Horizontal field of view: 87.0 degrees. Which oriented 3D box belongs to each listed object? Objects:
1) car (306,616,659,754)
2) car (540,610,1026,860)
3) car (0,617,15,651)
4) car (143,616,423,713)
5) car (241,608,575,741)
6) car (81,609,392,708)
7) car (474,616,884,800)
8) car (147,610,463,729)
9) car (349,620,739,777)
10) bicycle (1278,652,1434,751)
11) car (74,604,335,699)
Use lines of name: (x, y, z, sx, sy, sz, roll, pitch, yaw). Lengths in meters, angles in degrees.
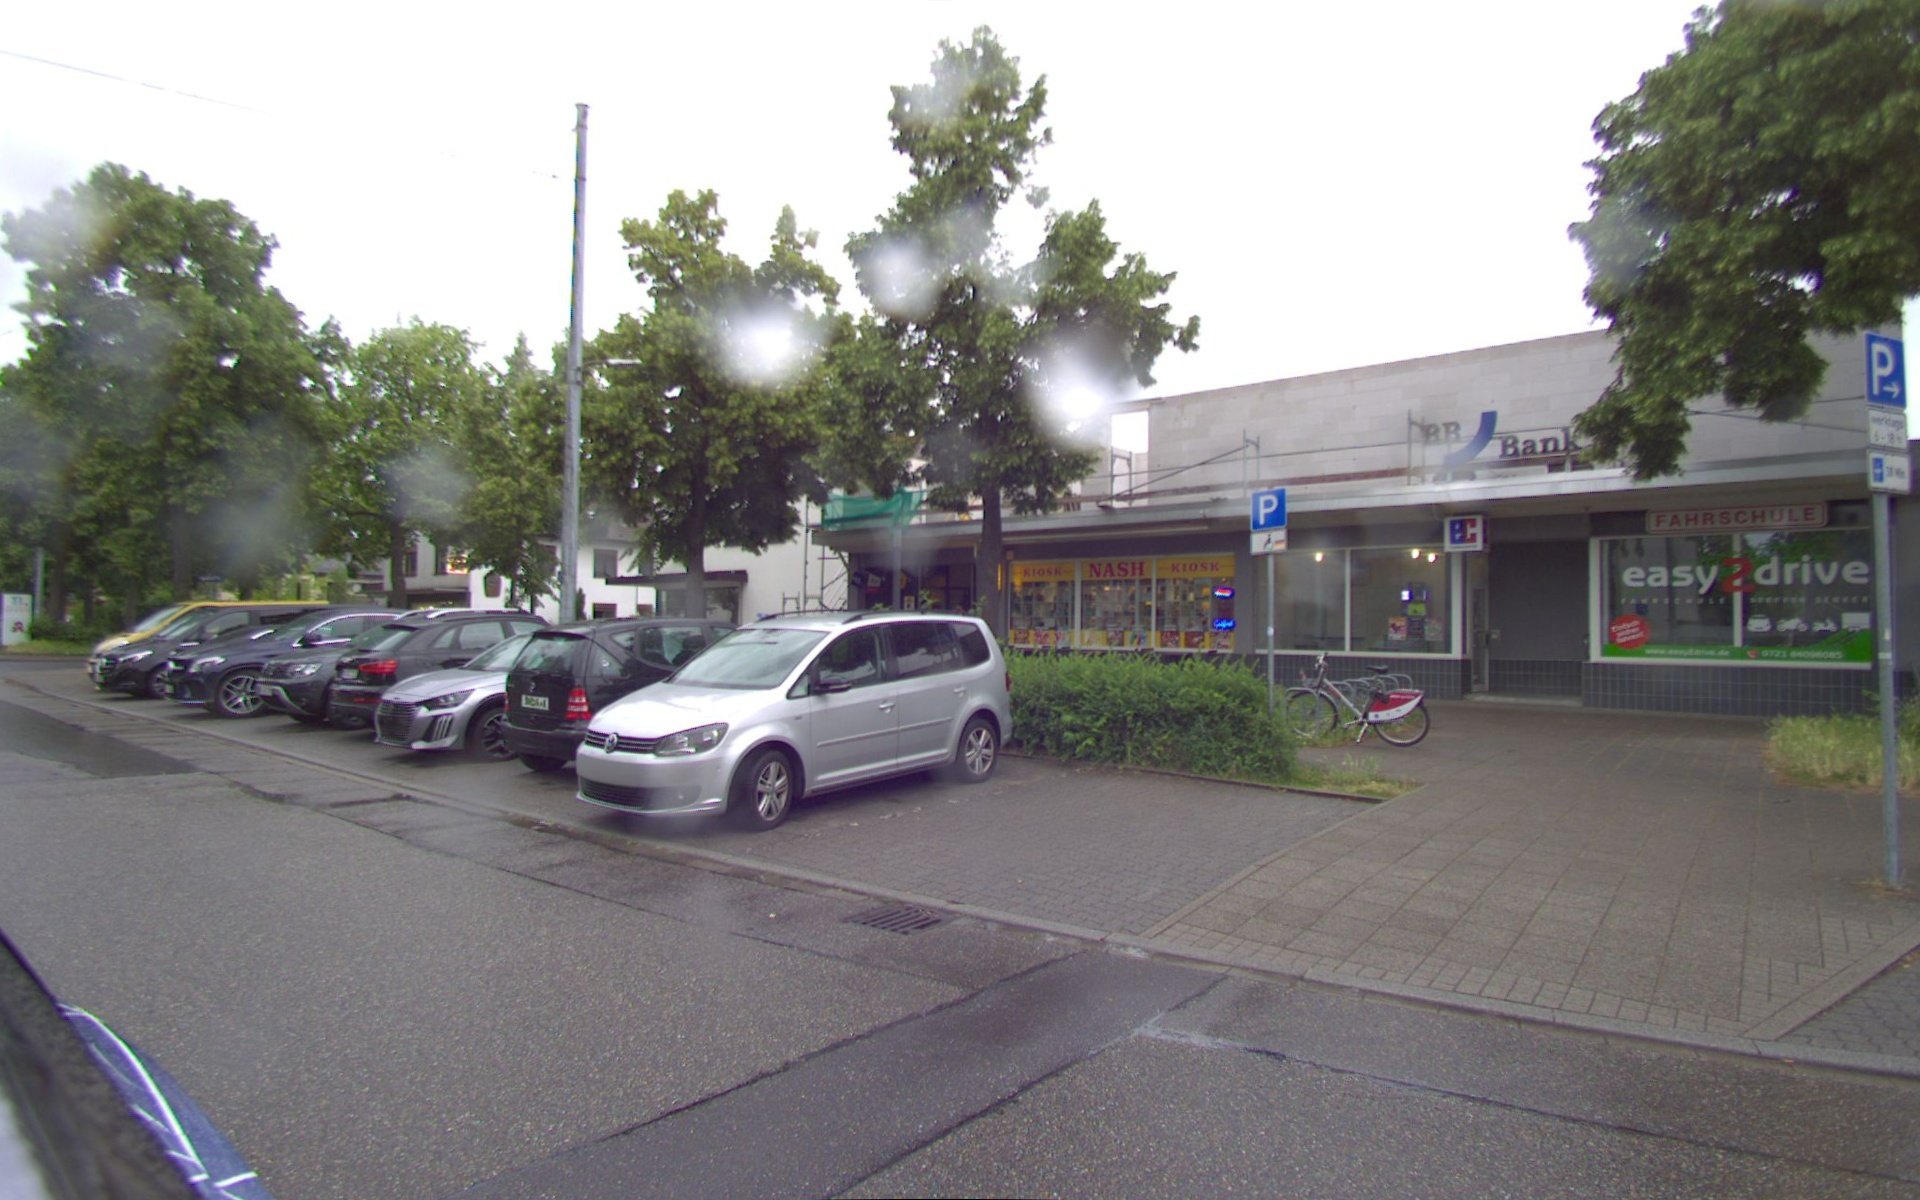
car: (-6.576, 1.053, 14.359, 1.713, 1.607, 4.231, -1, 0, 38)
car: (-1.303, 0.932, 9.012, 1.713, 1.647, 4.231, -1, 0, 38)
car: (-49.664, 1.735, 50.102, 1.997, 1.698, 3.950, -1, 0, 37)
car: (-13.042, 1.150, 19.730, 1.713, 1.639, 4.231, -1, 0, 38)
car: (-8.344, 1.006, 15.639, 1.713, 1.740, 4.231, -1, 0, 38)
car: (-15.155, 1.118, 21.521, 1.713, 1.813, 5.114, -1, 0, 38)
car: (-2.864, 0.993, 11.157, 1.633, 1.577, 4.231, -1, 0, 38)
car: (-11.003, 1.051, 17.272, 1.713, 1.740, 4.231, -1, 0, 38)
car: (-4.962, 1.049, 12.604, 1.713, 1.544, 4.231, -1, 0, 38)
bicycle: (4.808, 1.216, 12.346, 1.739, 1.115, 0.316, -1, 0, 25)
car: (-17.430, 1.097, 23.566, 1.713, 1.973, 4.600, -1, -1, 38)
